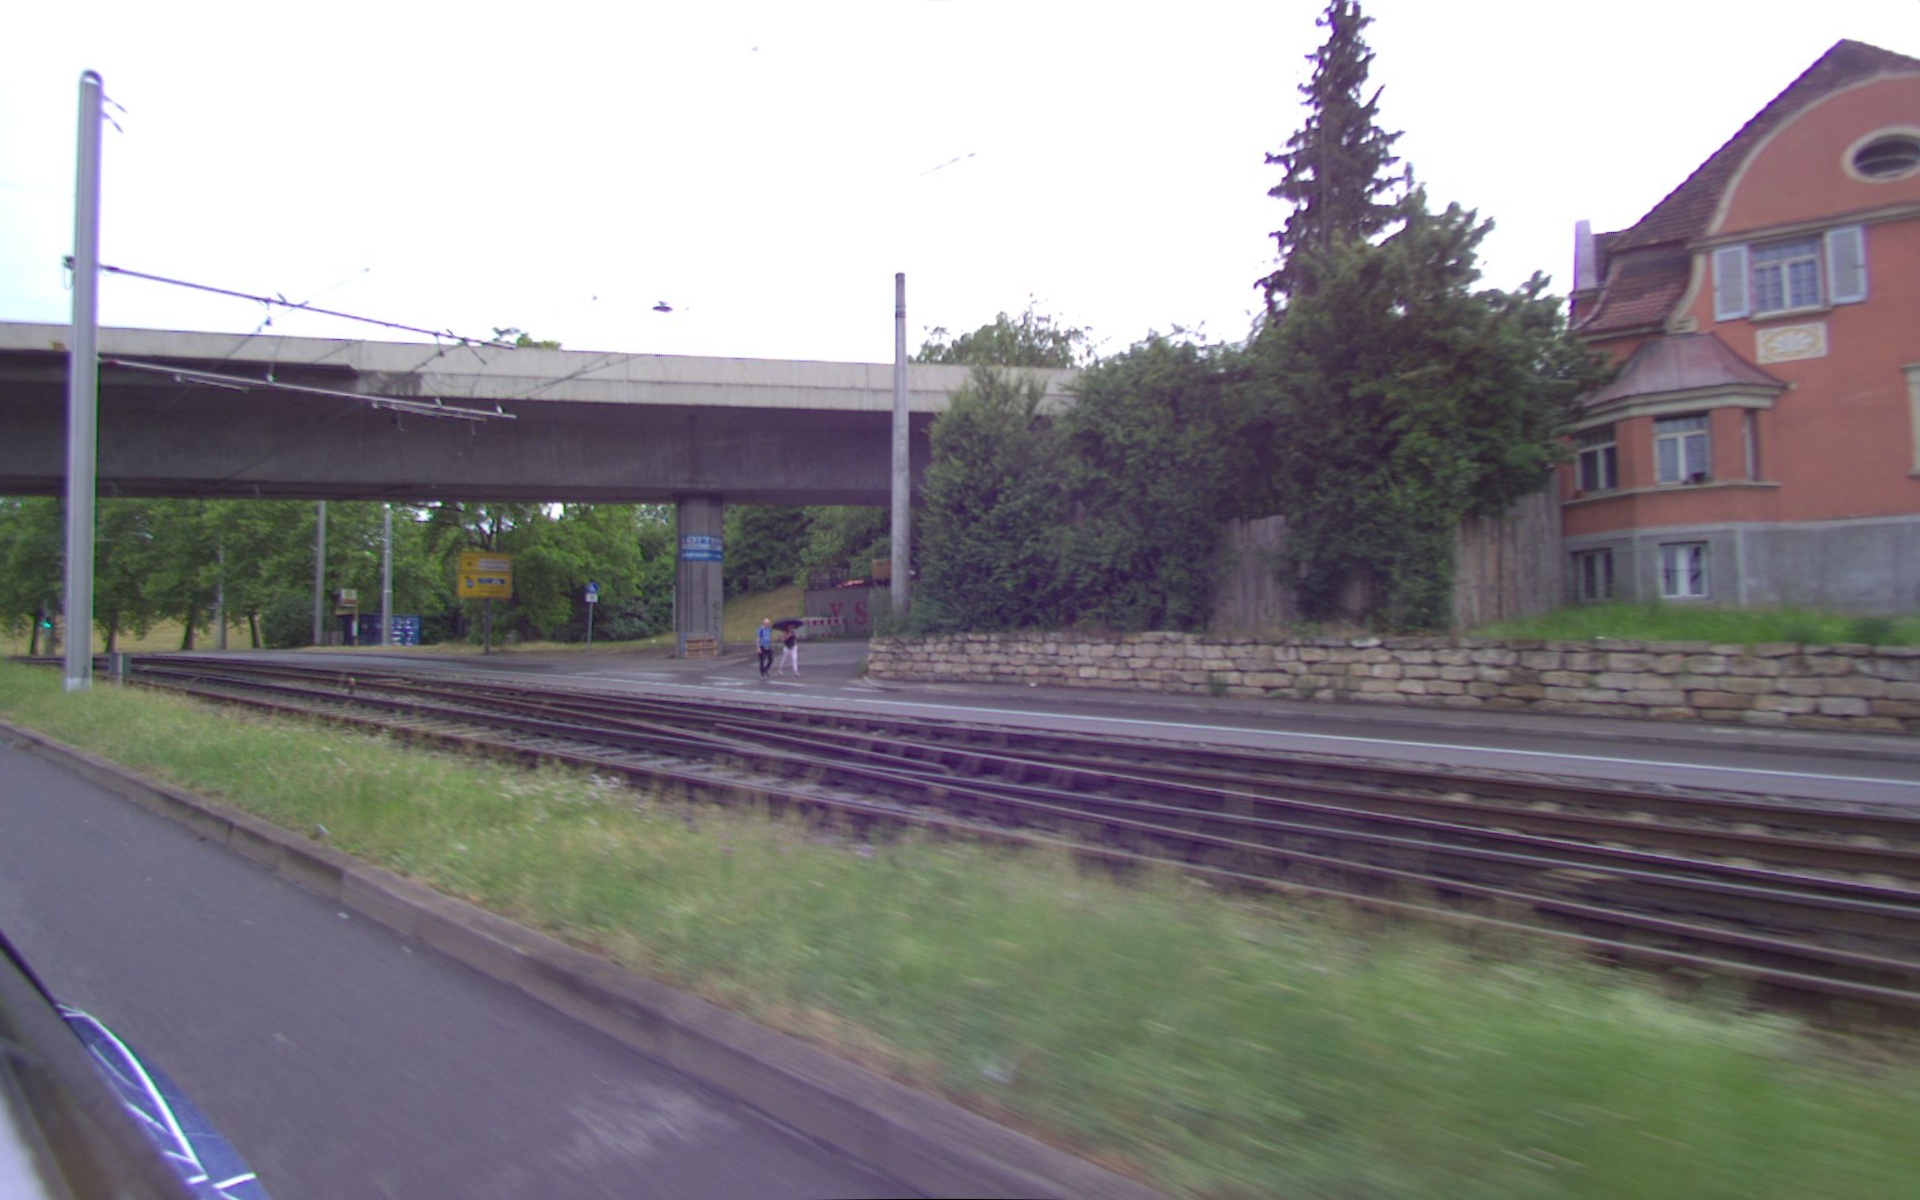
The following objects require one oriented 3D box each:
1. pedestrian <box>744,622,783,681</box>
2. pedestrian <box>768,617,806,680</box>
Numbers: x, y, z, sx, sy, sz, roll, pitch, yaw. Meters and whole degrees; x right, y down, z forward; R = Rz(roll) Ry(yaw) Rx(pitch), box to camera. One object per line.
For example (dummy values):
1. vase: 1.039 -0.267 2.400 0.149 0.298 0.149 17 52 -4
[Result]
1. pedestrian: -5.727 1.492 29.476 0.888 1.683 0.686 -3 -2 44
2. pedestrian: -5.194 1.448 30.330 0.866 1.845 0.686 -3 -2 42
